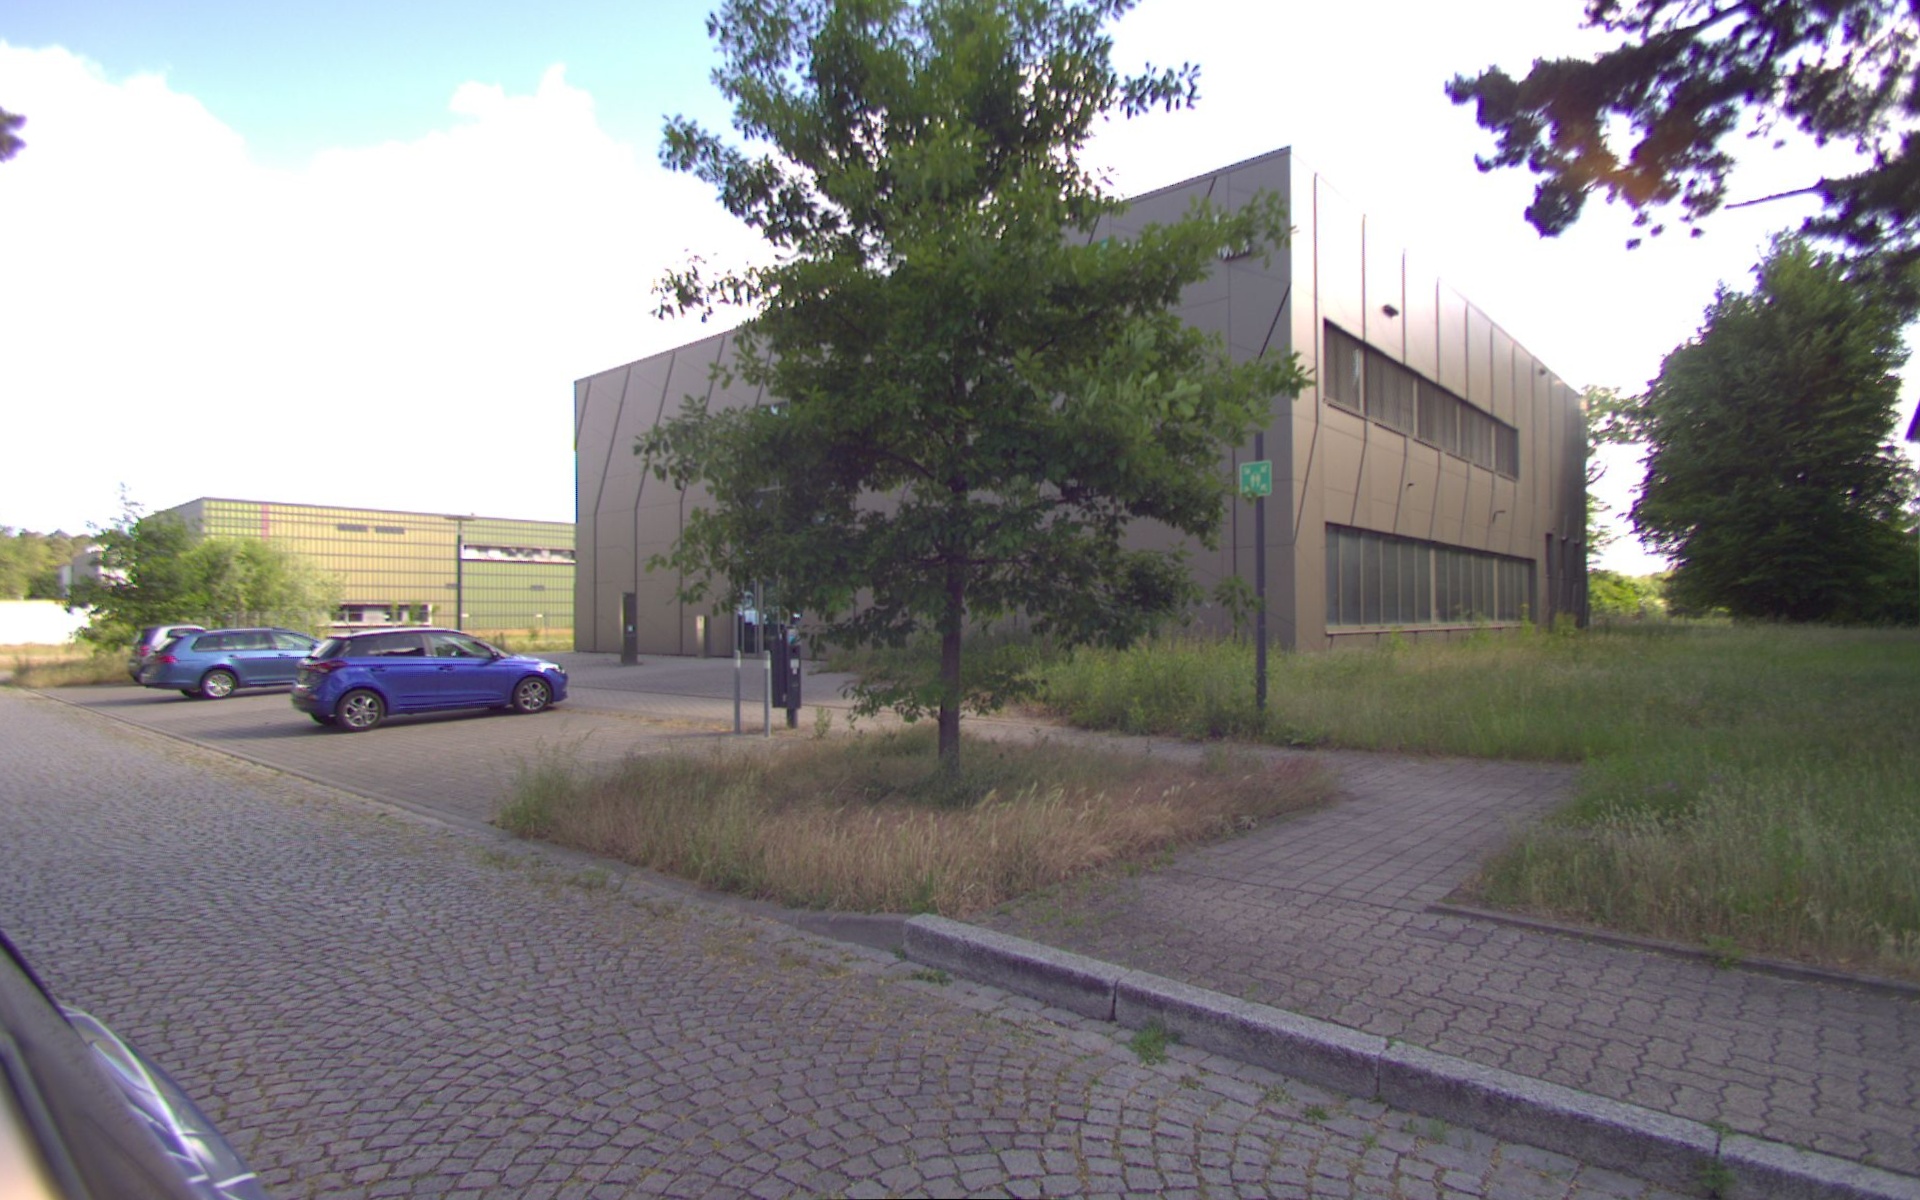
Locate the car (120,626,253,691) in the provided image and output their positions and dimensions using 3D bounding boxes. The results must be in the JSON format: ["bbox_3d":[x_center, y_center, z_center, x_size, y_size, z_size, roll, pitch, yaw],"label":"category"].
[{"bbox_3d":[-21.045,1.554,27.587,1.480,1.580,2.619,-2,-1,40],"label":"car"}]

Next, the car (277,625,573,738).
[{"bbox_3d":[-8.521,1.206,16.334,1.735,1.479,3.865,-2,-1,44],"label":"car"}]

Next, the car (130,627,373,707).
[{"bbox_3d":[-15.649,1.415,22.537,1.733,1.485,4.127,-2,0,39],"label":"car"}]
